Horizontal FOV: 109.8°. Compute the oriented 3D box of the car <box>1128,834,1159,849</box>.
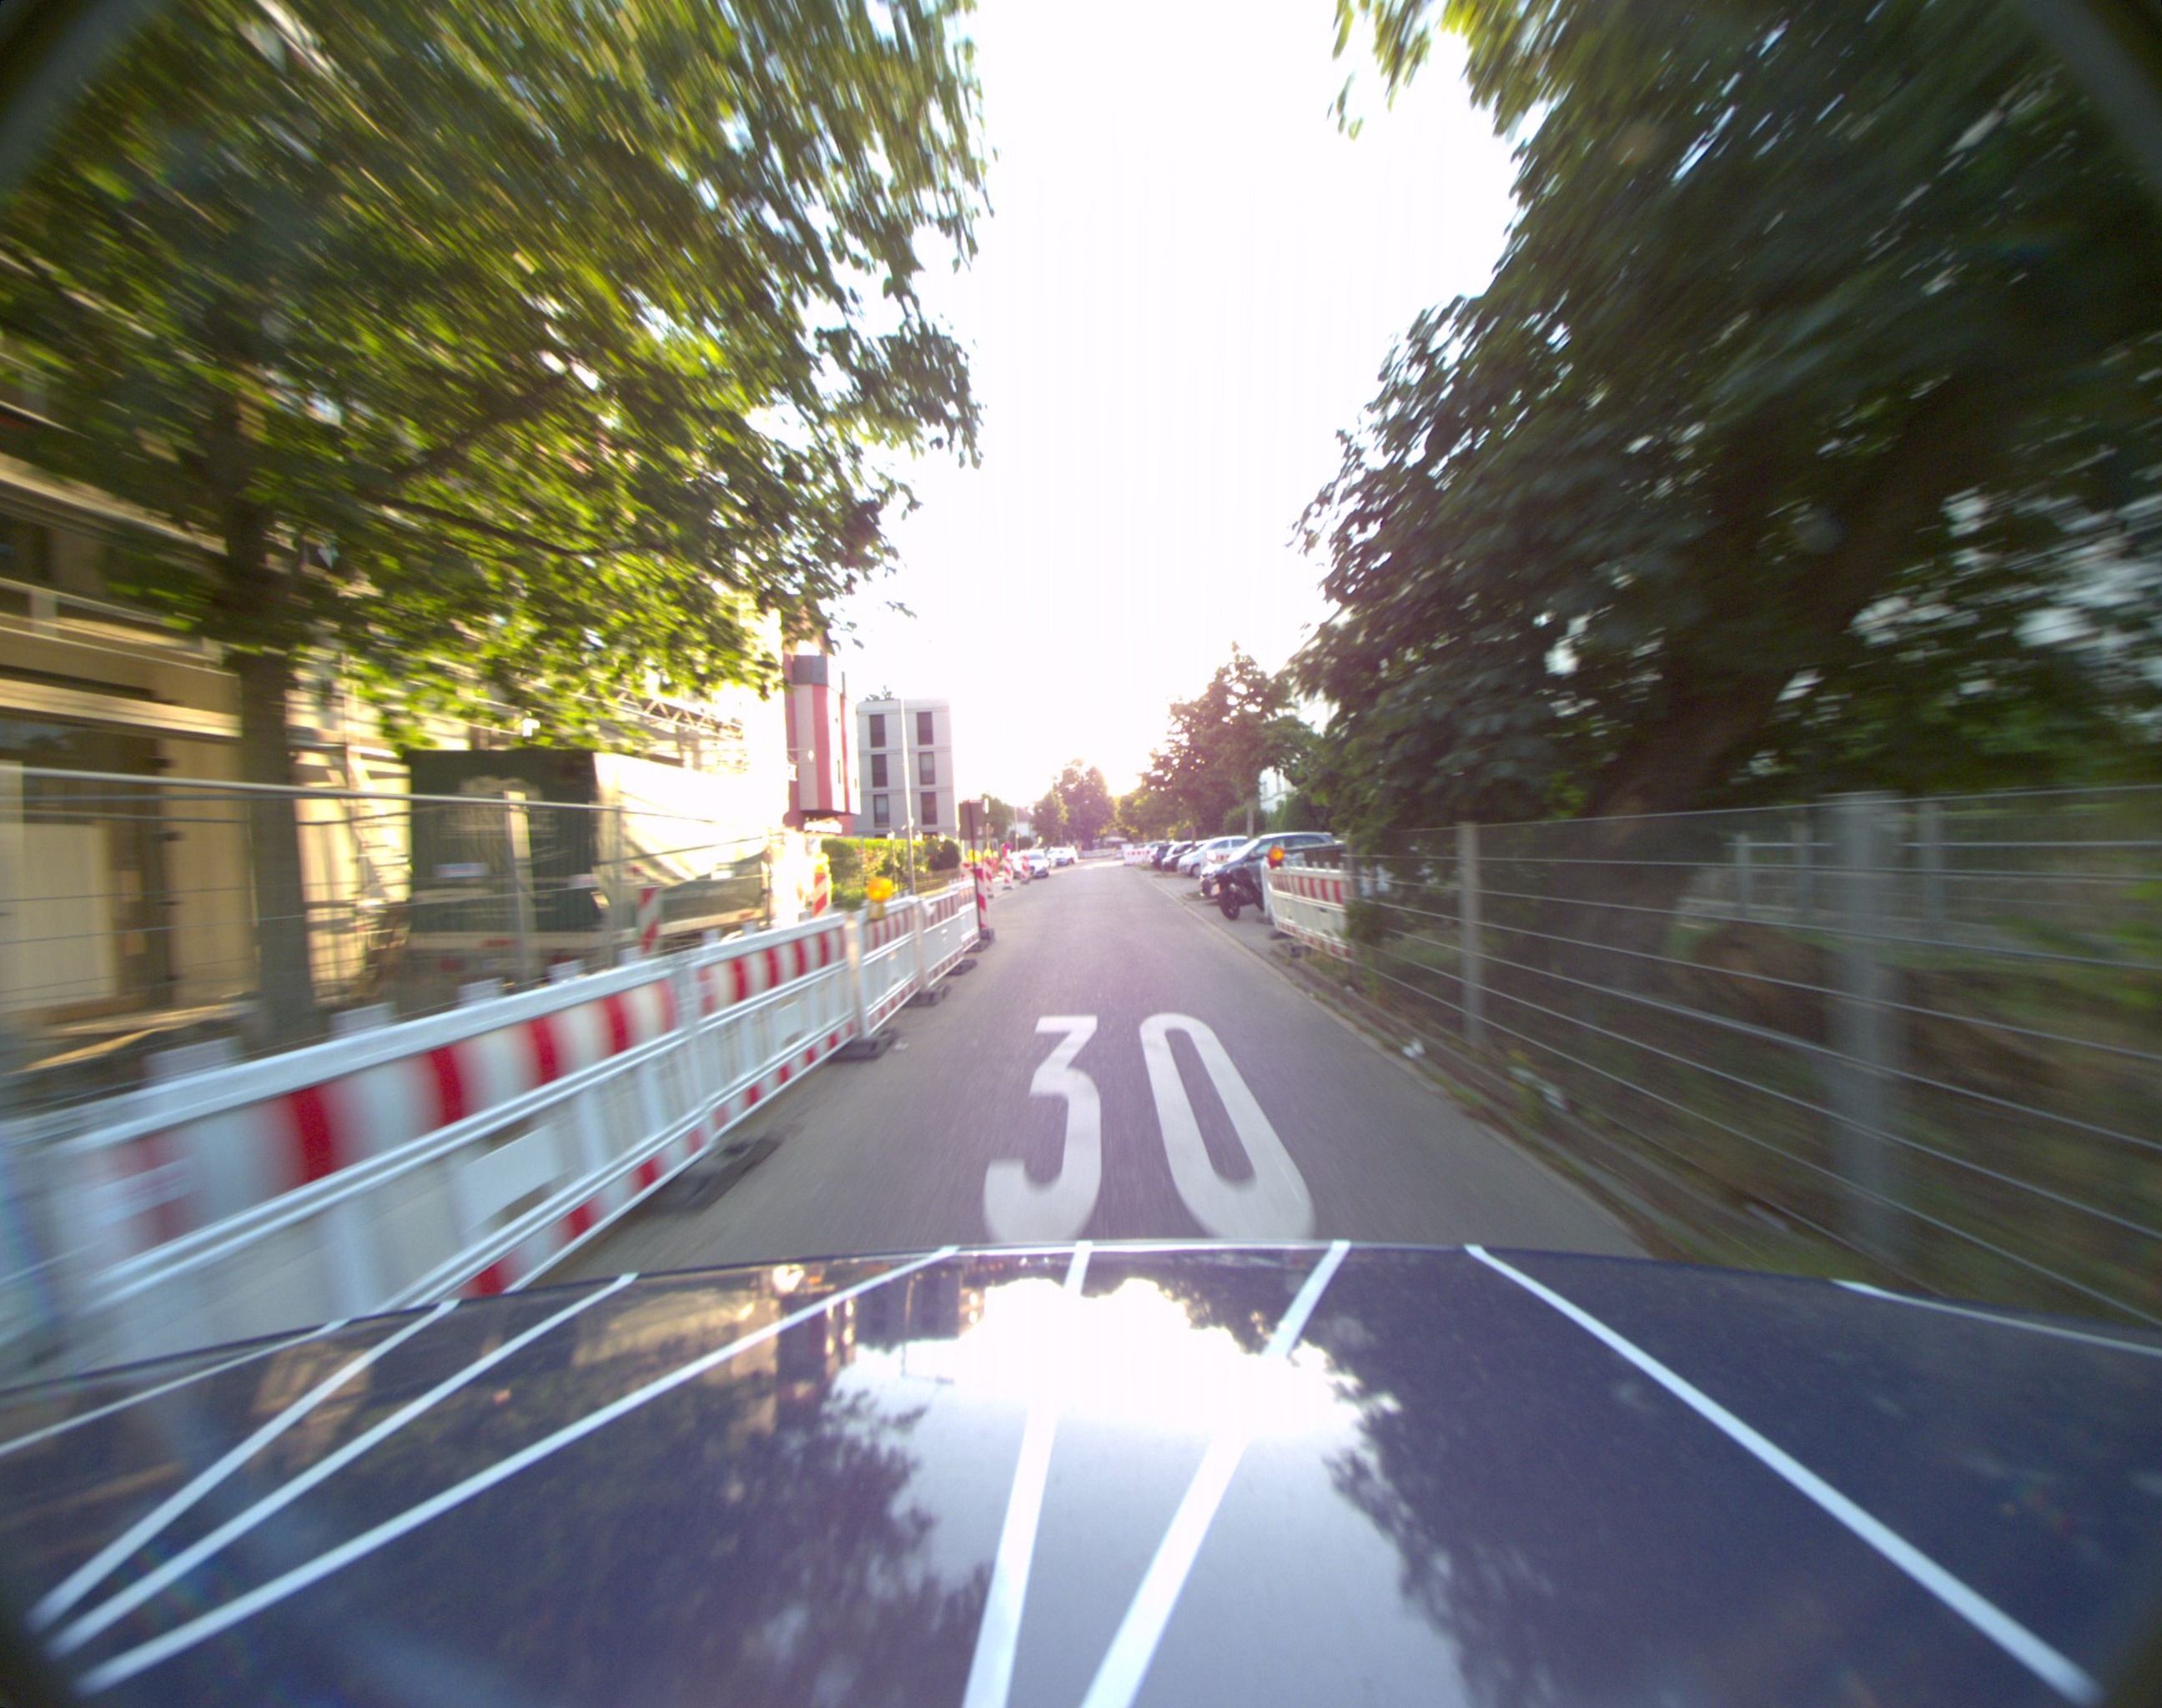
[{"bbox_3d":[9.836,-1.958,119.887,4.785,2.058,2.001,-3,1,6],"label":"car"}]

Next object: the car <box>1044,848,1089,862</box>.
[{"bbox_3d":[-1.553,0.160,82.429,4.829,1.390,1.770,-1,0,2],"label":"car"}]

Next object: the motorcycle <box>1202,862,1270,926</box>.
[{"bbox_3d":[3.096,0.759,14.979,0.538,1.015,2.215,-5,1,31],"label":"motorcycle"}]

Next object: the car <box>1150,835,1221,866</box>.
[{"bbox_3d":[5.711,-0.214,41.919,3.685,1.437,1.728,-4,2,3],"label":"car"}]

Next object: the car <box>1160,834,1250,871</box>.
[{"bbox_3d":[5.856,-0.090,36.170,3.986,1.481,1.728,-4,2,4],"label":"car"}]

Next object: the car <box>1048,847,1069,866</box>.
[{"bbox_3d":[-1.842,0.192,63.415,1.618,1.461,3.996,-3,0,0],"label":"car"}]

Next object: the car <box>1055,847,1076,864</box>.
[{"bbox_3d":[-1.353,0.134,68.986,1.802,1.461,3.843,-3,0,0],"label":"car"}]

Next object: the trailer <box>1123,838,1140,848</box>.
[{"bbox_3d":[12.085,-2.606,182.551,3.682,2.056,2.002,-3,1,15],"label":"trailer"}]

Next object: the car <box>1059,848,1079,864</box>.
[{"bbox_3d":[-1.149,0.137,74.486,1.744,1.461,3.759,-3,0,2],"label":"car"}]

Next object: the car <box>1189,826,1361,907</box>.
[{"bbox_3d":[4.591,0.283,18.371,3.632,1.548,1.693,-5,1,2],"label":"car"}]

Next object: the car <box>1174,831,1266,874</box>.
[{"bbox_3d":[5.850,-0.075,32.222,3.484,1.557,1.727,-4,2,-3],"label":"car"}]

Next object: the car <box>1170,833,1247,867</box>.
[{"bbox_3d":[6.511,-0.228,39.211,3.685,1.476,1.728,-4,2,4],"label":"car"}]

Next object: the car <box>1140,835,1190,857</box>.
[{"bbox_3d":[6.721,-0.660,61.012,3.709,1.475,1.728,-4,1,0],"label":"car"}]

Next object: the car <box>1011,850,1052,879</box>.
[{"bbox_3d":[-2.598,0.508,40.718,1.780,1.389,4.107,-3,0,1],"label":"car"}]

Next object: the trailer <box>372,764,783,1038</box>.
[{"bbox_3d":[-5.591,0.443,9.282,1.998,2.525,4.186,-2,0,2],"label":"trailer"}]
